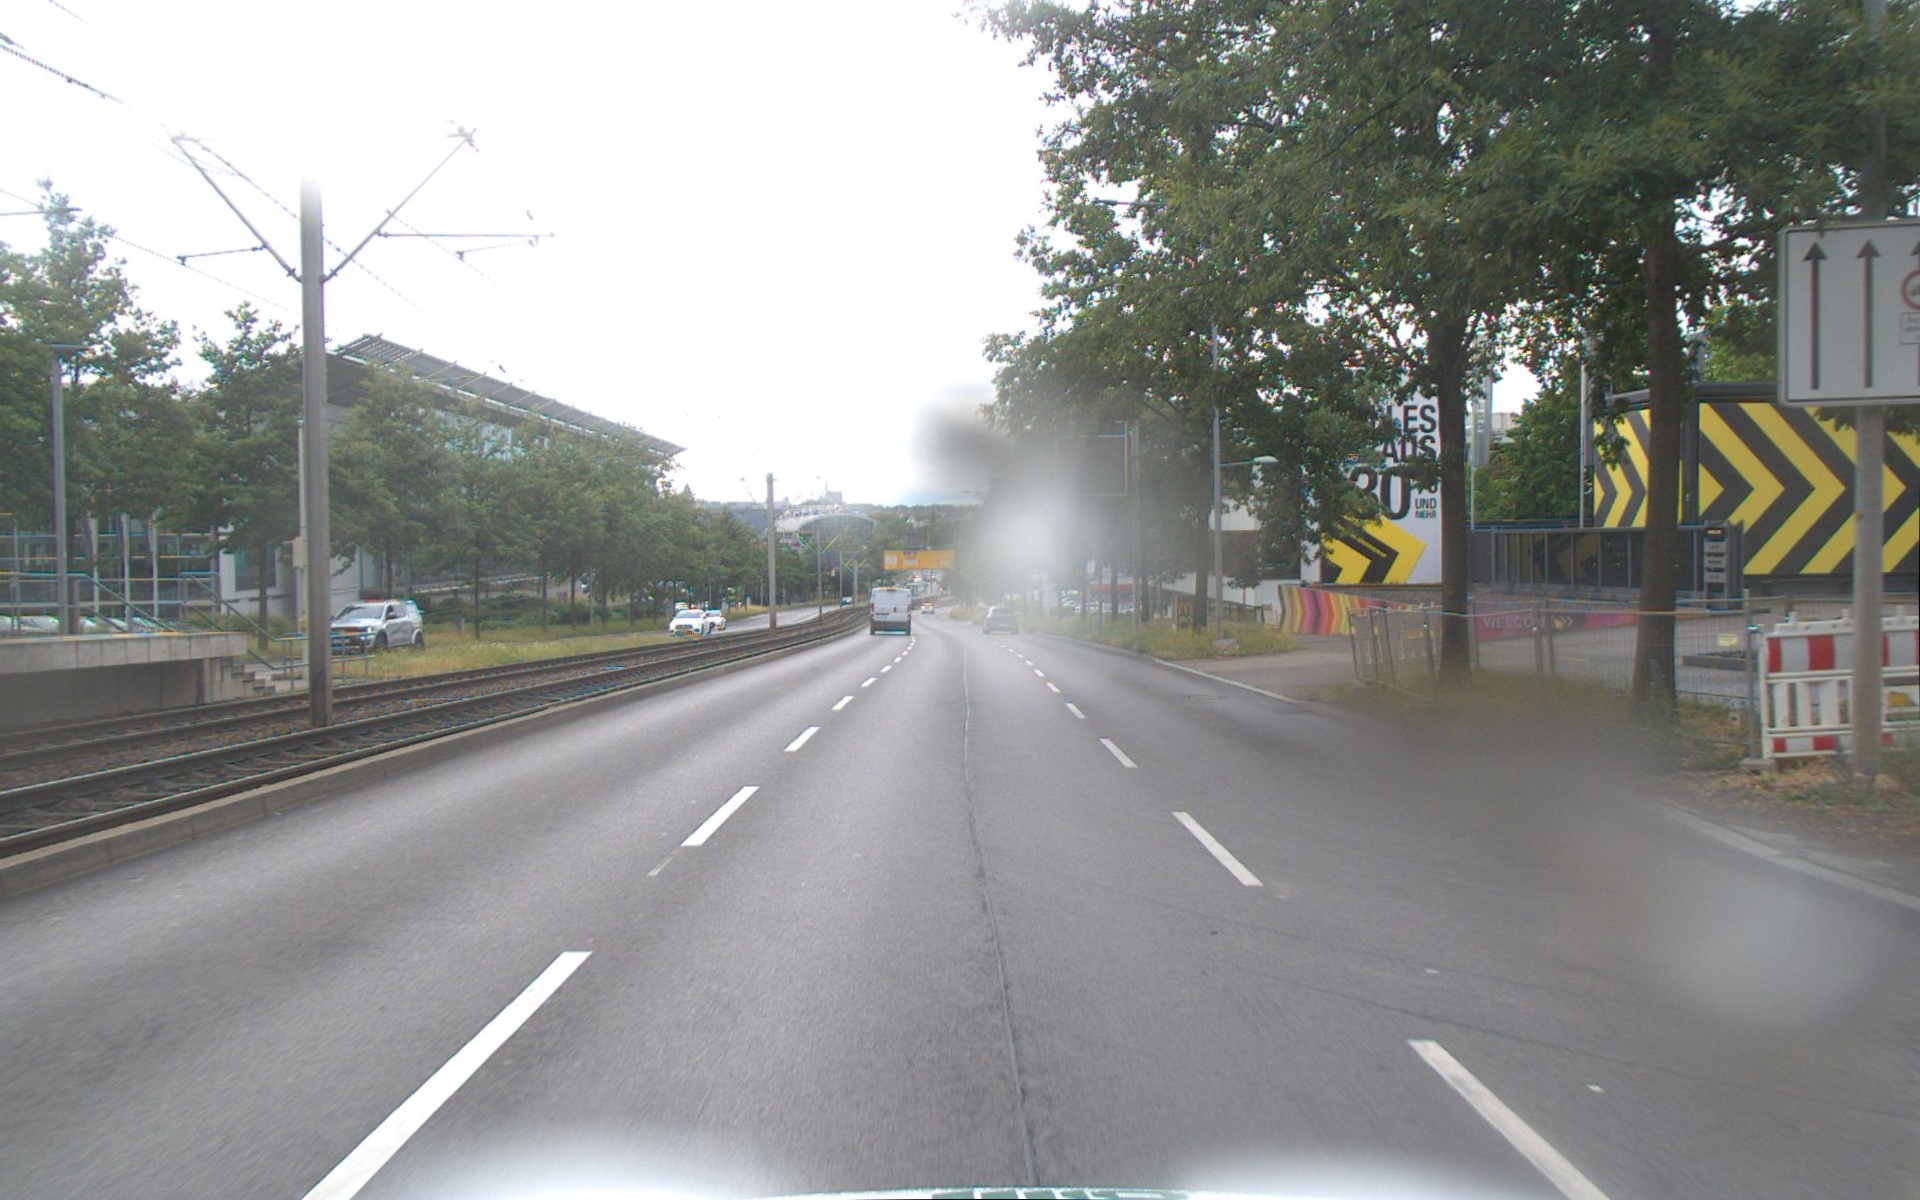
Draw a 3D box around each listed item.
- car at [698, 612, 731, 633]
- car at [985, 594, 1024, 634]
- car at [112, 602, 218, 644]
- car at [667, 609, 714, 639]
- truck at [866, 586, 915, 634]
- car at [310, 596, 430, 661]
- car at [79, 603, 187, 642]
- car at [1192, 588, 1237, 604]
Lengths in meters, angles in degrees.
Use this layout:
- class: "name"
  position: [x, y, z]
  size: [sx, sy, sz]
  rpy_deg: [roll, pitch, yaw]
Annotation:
- class: "car"
  position: [-18.284, 1.681, 123.084]
  size: [1.842, 1.473, 4.137]
  rpy_deg: [-1, 0, 0]
- class: "car"
  position: [2.342, 0.730, 88.409]
  size: [1.953, 2.049, 3.934]
  rpy_deg: [1, 0, 0]
- class: "car"
  position: [-36.927, 1.051, 76.851]
  size: [3.987, 1.869, 1.863]
  rpy_deg: [1, -1, 1]
- class: "car"
  position: [-14.628, 1.270, 90.064]
  size: [1.800, 1.469, 4.428]
  rpy_deg: [-2, 0, 0]
- class: "truck"
  position: [-3.448, 0.490, 82.356]
  size: [2.313, 2.301, 5.303]
  rpy_deg: [1, 0, -2]
- class: "car"
  position: [-18.410, 0.849, 51.843]
  size: [1.953, 1.879, 5.001]
  rpy_deg: [-2, 0, -1]
- class: "car"
  position: [-37.008, 0.992, 74.085]
  size: [3.969, 1.646, 1.638]
  rpy_deg: [1, -1, 1]
- class: "car"
  position: [23.577, -0.353, 153.260]
  size: [3.904, 1.378, 2.001]
  rpy_deg: [1, -1, 3]
